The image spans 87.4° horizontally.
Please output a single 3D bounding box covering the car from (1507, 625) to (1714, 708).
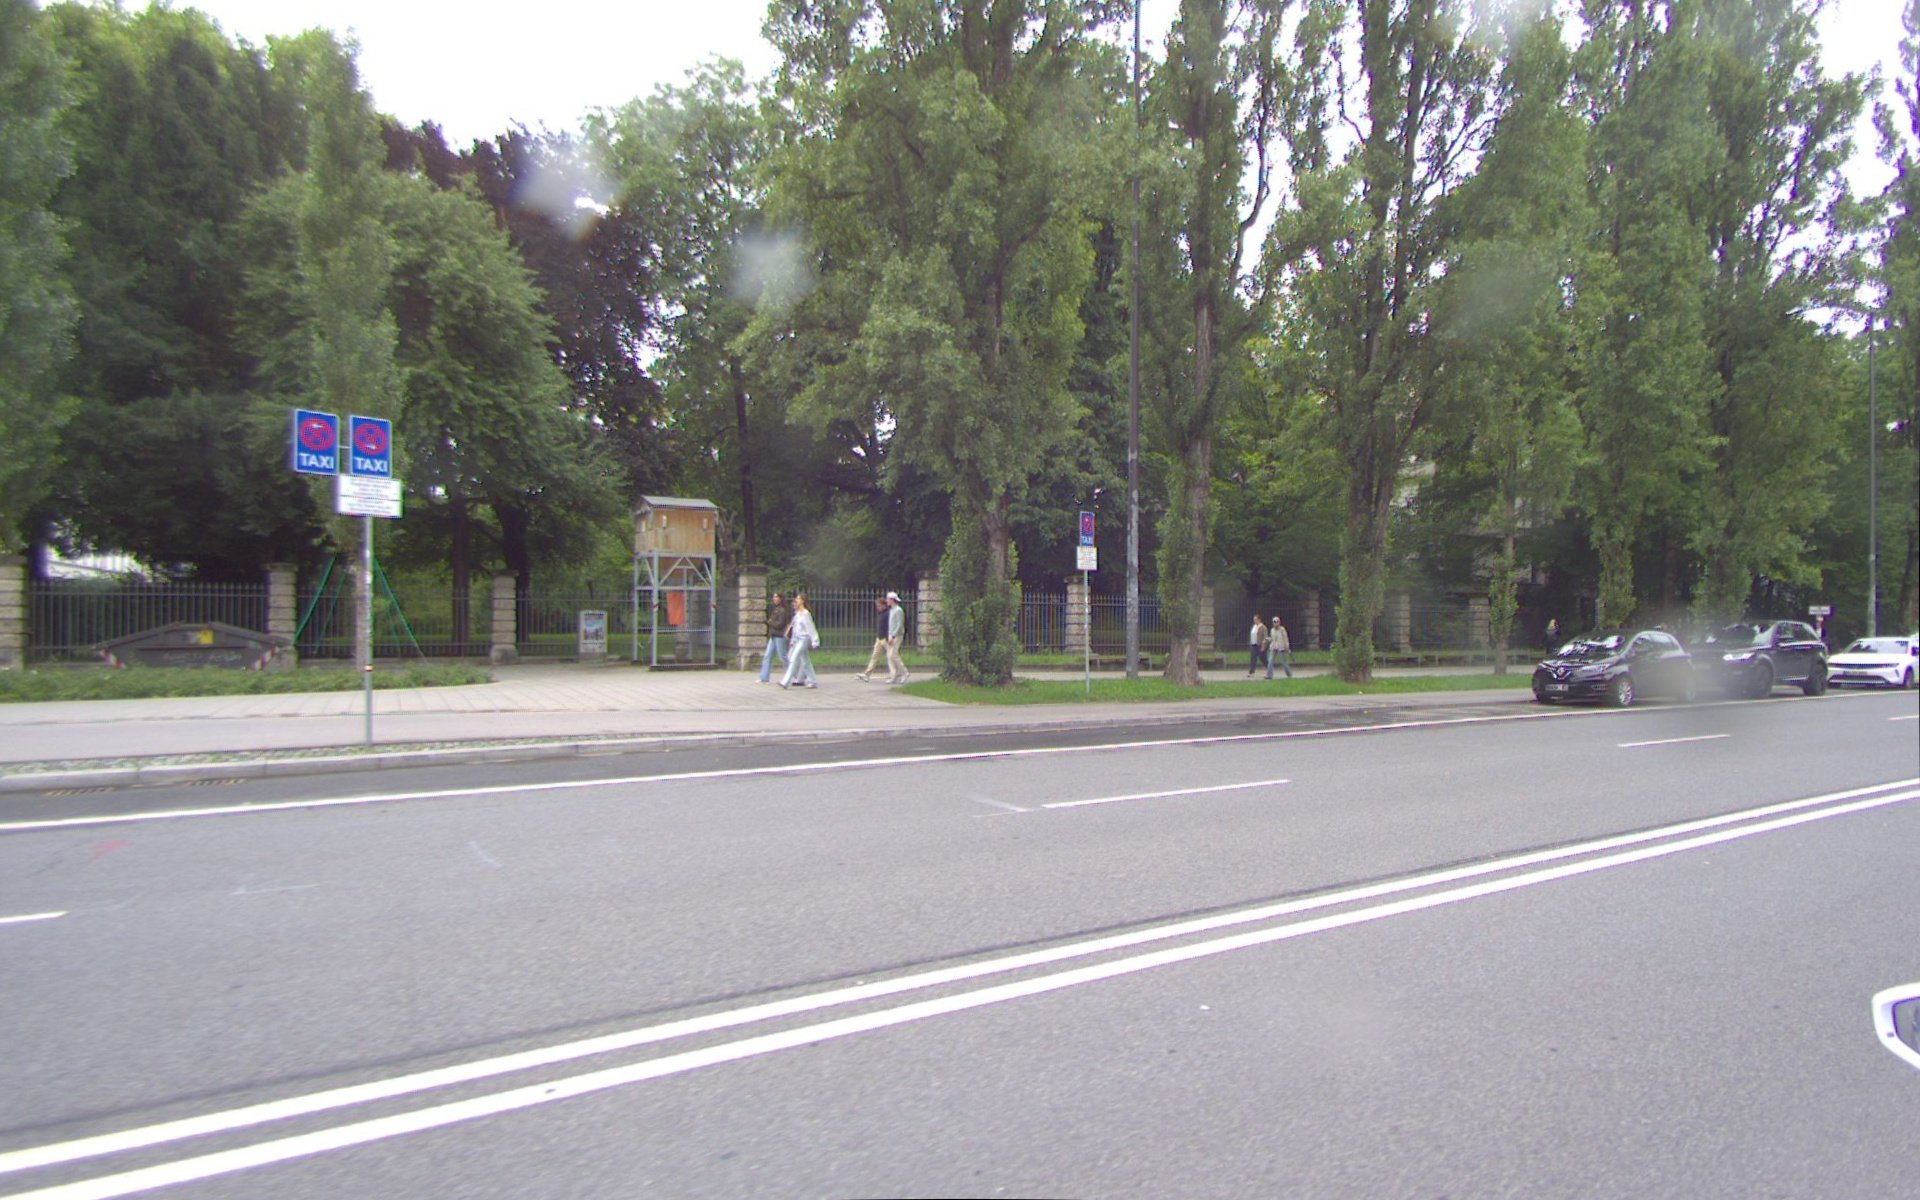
[{"bbox_3d":[13.940,1.368,21.483,4.336,1.604,1.936,1,-3,-30],"label":"car"}]

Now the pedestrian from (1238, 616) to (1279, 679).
[{"bbox_3d":[7.986,1.257,26.886,0.804,1.626,0.714,1,-1,-31],"label":"pedestrian"}]

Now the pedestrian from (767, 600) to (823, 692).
[{"bbox_3d":[-3.170,0.875,19.339,0.875,1.722,0.684,1,-1,-31],"label":"pedestrian"}]

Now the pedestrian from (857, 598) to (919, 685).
[{"bbox_3d":[-1.532,0.868,21.300,1.080,1.796,0.706,1,0,-31],"label":"pedestrian"}]

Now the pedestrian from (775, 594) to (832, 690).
[{"bbox_3d":[-2.950,0.783,18.917,0.898,1.770,0.626,1,-1,-31],"label":"pedestrian"}]

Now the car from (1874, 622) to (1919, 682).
[{"bbox_3d":[30.883,1.603,31.432,5.120,1.813,1.900,1,-4,-31],"label":"car"}]

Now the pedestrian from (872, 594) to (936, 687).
[{"bbox_3d":[-1.156,0.825,20.684,1.080,1.858,0.706,1,0,-31],"label":"pedestrian"}]

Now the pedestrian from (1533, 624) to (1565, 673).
[{"bbox_3d":[21.892,1.792,37.319,0.945,1.764,0.663,1,-1,-30],"label":"pedestrian"}]

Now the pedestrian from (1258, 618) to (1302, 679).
[{"bbox_3d":[8.334,1.252,26.159,0.865,1.569,0.714,1,-1,-31],"label":"pedestrian"}]

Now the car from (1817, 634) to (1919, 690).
[{"bbox_3d":[26.370,1.728,28.617,4.223,1.478,1.696,1,-3,-31],"label":"car"}]

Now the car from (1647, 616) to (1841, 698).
[{"bbox_3d":[19.040,1.361,24.363,4.742,1.810,2.038,1,-3,-30],"label":"car"}]

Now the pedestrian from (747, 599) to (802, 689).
[{"bbox_3d":[-3.667,0.852,19.861,0.900,1.739,0.656,1,-1,-31],"label":"pedestrian"}]
